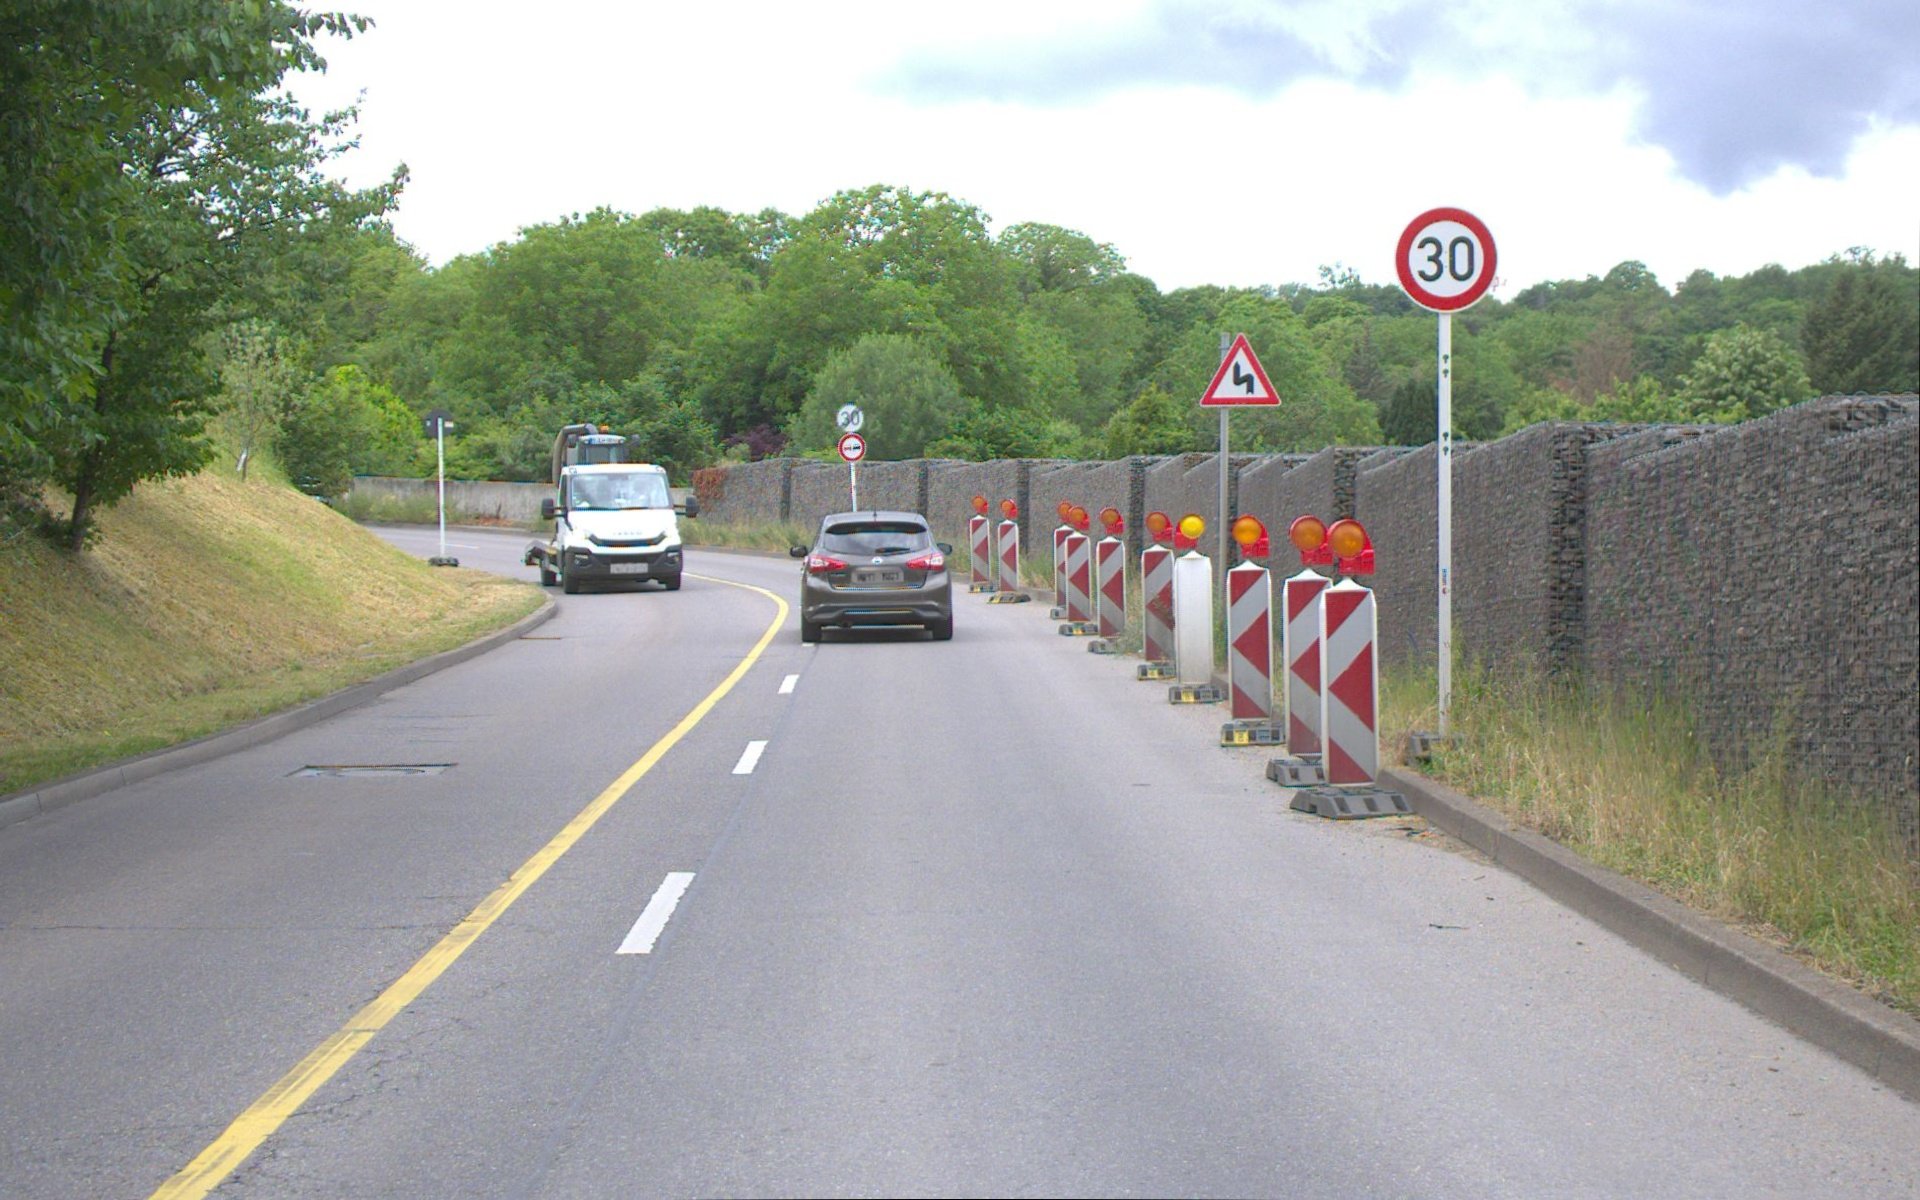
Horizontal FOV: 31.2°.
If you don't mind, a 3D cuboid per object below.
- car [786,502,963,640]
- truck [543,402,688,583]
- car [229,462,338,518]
[{"bbox_3d":[-1.083,-0.390,41.436,1.839,1.478,4.001,-2,3,-5],"label":"car"},{"bbox_3d":[-6.231,-1.922,61.431,2.214,3.004,7.742,-1,2,-8],"label":"truck"},{"bbox_3d":[-19.388,-3.137,98.403,1.779,1.448,3.858,3,-1,-31],"label":"car"}]
